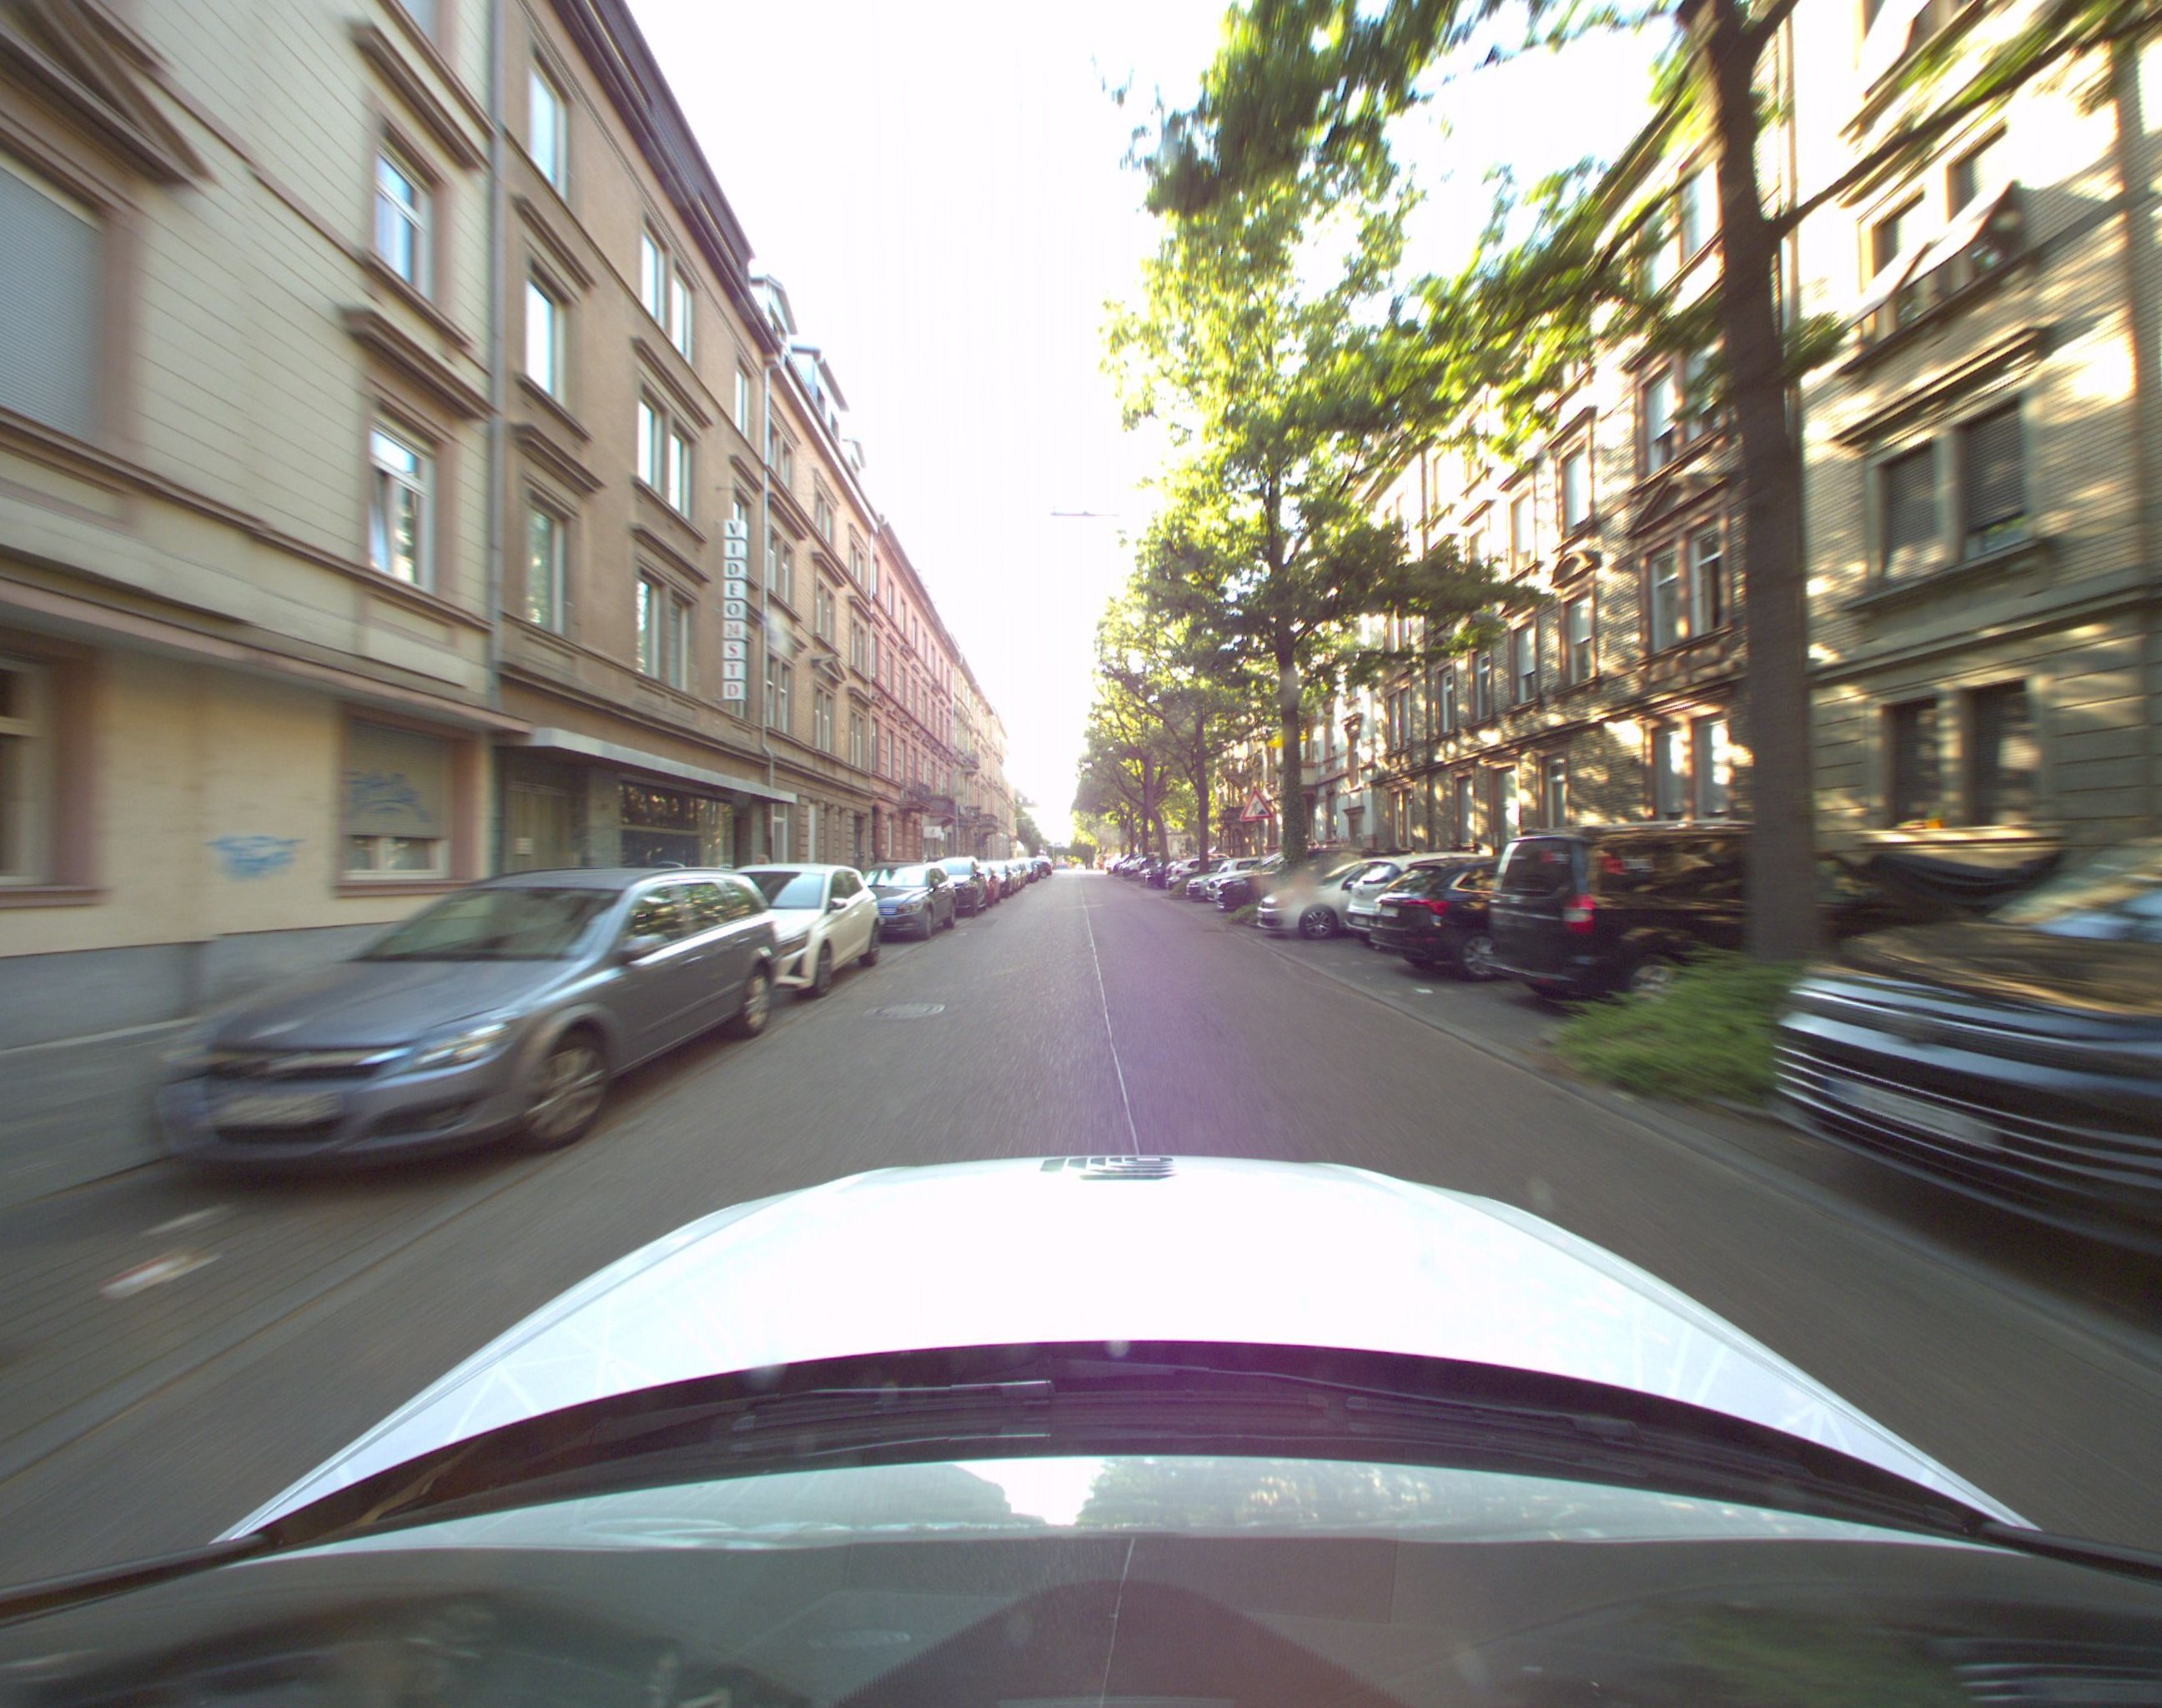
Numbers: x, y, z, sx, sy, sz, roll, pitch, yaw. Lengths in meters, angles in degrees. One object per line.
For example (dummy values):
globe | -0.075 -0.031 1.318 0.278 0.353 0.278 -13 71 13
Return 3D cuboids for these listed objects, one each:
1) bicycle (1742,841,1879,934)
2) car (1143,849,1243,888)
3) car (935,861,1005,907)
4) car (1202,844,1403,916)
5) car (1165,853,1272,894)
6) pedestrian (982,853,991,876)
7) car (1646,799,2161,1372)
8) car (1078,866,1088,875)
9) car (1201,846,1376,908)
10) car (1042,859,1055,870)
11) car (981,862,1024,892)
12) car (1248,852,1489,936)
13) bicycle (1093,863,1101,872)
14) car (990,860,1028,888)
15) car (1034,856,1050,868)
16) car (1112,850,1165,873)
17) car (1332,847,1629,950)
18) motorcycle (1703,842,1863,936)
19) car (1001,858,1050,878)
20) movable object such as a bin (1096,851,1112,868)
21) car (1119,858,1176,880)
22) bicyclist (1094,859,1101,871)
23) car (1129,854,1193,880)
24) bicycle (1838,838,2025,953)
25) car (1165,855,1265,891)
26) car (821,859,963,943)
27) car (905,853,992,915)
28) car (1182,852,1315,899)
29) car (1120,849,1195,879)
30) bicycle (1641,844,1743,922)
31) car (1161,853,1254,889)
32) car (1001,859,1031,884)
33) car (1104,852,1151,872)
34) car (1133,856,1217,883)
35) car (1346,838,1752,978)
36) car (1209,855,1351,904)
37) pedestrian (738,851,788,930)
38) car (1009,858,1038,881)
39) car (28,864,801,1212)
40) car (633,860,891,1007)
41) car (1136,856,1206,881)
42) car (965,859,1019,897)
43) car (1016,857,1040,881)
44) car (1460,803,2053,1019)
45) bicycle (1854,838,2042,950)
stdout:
bicycle | 11.148 0.484 12.534 0.367 1.319 1.882 -1 0 -1
car | 5.516 0.694 40.456 4.636 1.702 1.879 -2 0 -5
car | -3.723 0.968 28.049 1.815 1.426 4.312 1 0 -1
car | 5.318 0.644 20.008 4.460 1.656 1.891 0 -2 1
car | 5.487 0.762 32.844 3.976 1.388 1.677 -3 0 -2
pedestrian | -7.625 0.837 65.605 0.639 1.888 0.589 -1 -1 -15
car | 5.469 0.543 3.363 4.910 1.632 2.075 -3 0 -4
car | 0.339 3.019 149.723 1.744 1.509 3.998 -1 0 -1
car | 5.788 0.650 23.121 4.464 1.656 1.890 0 -2 -2
car | -4.406 1.404 110.457 1.665 1.530 3.995 0 -1 -3
car | -3.762 1.078 39.468 1.700 1.323 4.100 -1 0 0
car | 5.321 0.718 15.408 3.974 1.456 1.687 -1 0 0
bicycle | 1.933 1.622 97.497 0.801 0.968 2.107 1 -1 -1
car | -3.838 1.041 44.145 1.700 1.439 3.958 -1 0 0
car | -4.509 0.916 94.911 1.760 1.437 4.297 0 0 -2
car | 5.297 0.700 75.196 4.605 2.014 1.998 -1 -1 -4
car | 6.263 0.663 13.031 3.979 1.495 1.685 -1 0 -4
motorcycle | 10.583 0.493 12.380 0.760 1.319 1.882 -1 0 -2
car | -4.557 1.106 66.561 3.983 1.529 1.822 -1 0 -7
movable object such as a bin | 3.637 0.839 128.258 1.980 2.699 3.121 0 -1 12
car | 5.002 1.100 61.698 3.985 1.475 1.777 -2 0 -9
bicyclist | 1.939 1.310 97.402 0.801 1.383 0.984 1 -1 -2
car | 5.205 0.849 53.165 3.879 1.649 1.721 -1 0 -6
bicycle | 10.715 0.482 10.362 0.367 1.319 1.882 -1 0 -1
car | 5.811 0.809 35.561 3.979 1.462 1.780 -1 0 -4
car | -3.726 0.854 16.906 1.856 1.472 4.488 -1 0 0
car | -3.687 0.802 23.426 1.815 1.600 4.312 1 0 -1
car | 5.764 0.715 28.260 4.214 1.536 1.799 0 0 -4
car | 5.396 0.717 57.876 5.076 1.940 2.157 -1 -4 -1
bicycle | 10.972 0.496 14.694 0.367 1.319 1.882 -1 0 -1
car | 5.889 0.788 38.159 3.979 1.590 1.780 -1 0 -4
car | -3.999 1.075 50.433 1.577 1.473 3.998 -1 0 -1
car | 5.014 0.847 88.105 4.959 2.096 2.105 -1 -1 -1
car | 5.544 0.915 48.444 4.650 1.503 1.929 -1 0 -4
car | 5.832 0.633 10.531 4.134 1.455 1.935 -2 0 -2
car | 6.235 0.767 25.812 4.087 1.470 1.801 0 0 0
pedestrian | -6.796 0.767 17.458 0.693 1.631 1.017 -1 -1 -2
car | -3.842 1.022 54.640 1.643 1.473 3.998 2 0 -1
car | -3.664 0.821 5.822 1.881 1.444 4.539 0 0 -2
car | -3.757 0.828 10.424 1.752 1.472 4.085 -1 0 -2
car | 5.559 0.894 50.558 4.099 1.503 1.808 -1 0 -6
car | -3.715 0.969 34.595 1.815 1.477 4.422 1 0 -1
car | -3.885 1.064 59.579 1.645 1.574 4.042 2 0 -5
car | 6.174 0.488 7.886 4.110 1.788 1.945 -1 0 1
bicycle | 11.108 0.476 10.536 0.367 1.319 1.882 -1 0 -1
